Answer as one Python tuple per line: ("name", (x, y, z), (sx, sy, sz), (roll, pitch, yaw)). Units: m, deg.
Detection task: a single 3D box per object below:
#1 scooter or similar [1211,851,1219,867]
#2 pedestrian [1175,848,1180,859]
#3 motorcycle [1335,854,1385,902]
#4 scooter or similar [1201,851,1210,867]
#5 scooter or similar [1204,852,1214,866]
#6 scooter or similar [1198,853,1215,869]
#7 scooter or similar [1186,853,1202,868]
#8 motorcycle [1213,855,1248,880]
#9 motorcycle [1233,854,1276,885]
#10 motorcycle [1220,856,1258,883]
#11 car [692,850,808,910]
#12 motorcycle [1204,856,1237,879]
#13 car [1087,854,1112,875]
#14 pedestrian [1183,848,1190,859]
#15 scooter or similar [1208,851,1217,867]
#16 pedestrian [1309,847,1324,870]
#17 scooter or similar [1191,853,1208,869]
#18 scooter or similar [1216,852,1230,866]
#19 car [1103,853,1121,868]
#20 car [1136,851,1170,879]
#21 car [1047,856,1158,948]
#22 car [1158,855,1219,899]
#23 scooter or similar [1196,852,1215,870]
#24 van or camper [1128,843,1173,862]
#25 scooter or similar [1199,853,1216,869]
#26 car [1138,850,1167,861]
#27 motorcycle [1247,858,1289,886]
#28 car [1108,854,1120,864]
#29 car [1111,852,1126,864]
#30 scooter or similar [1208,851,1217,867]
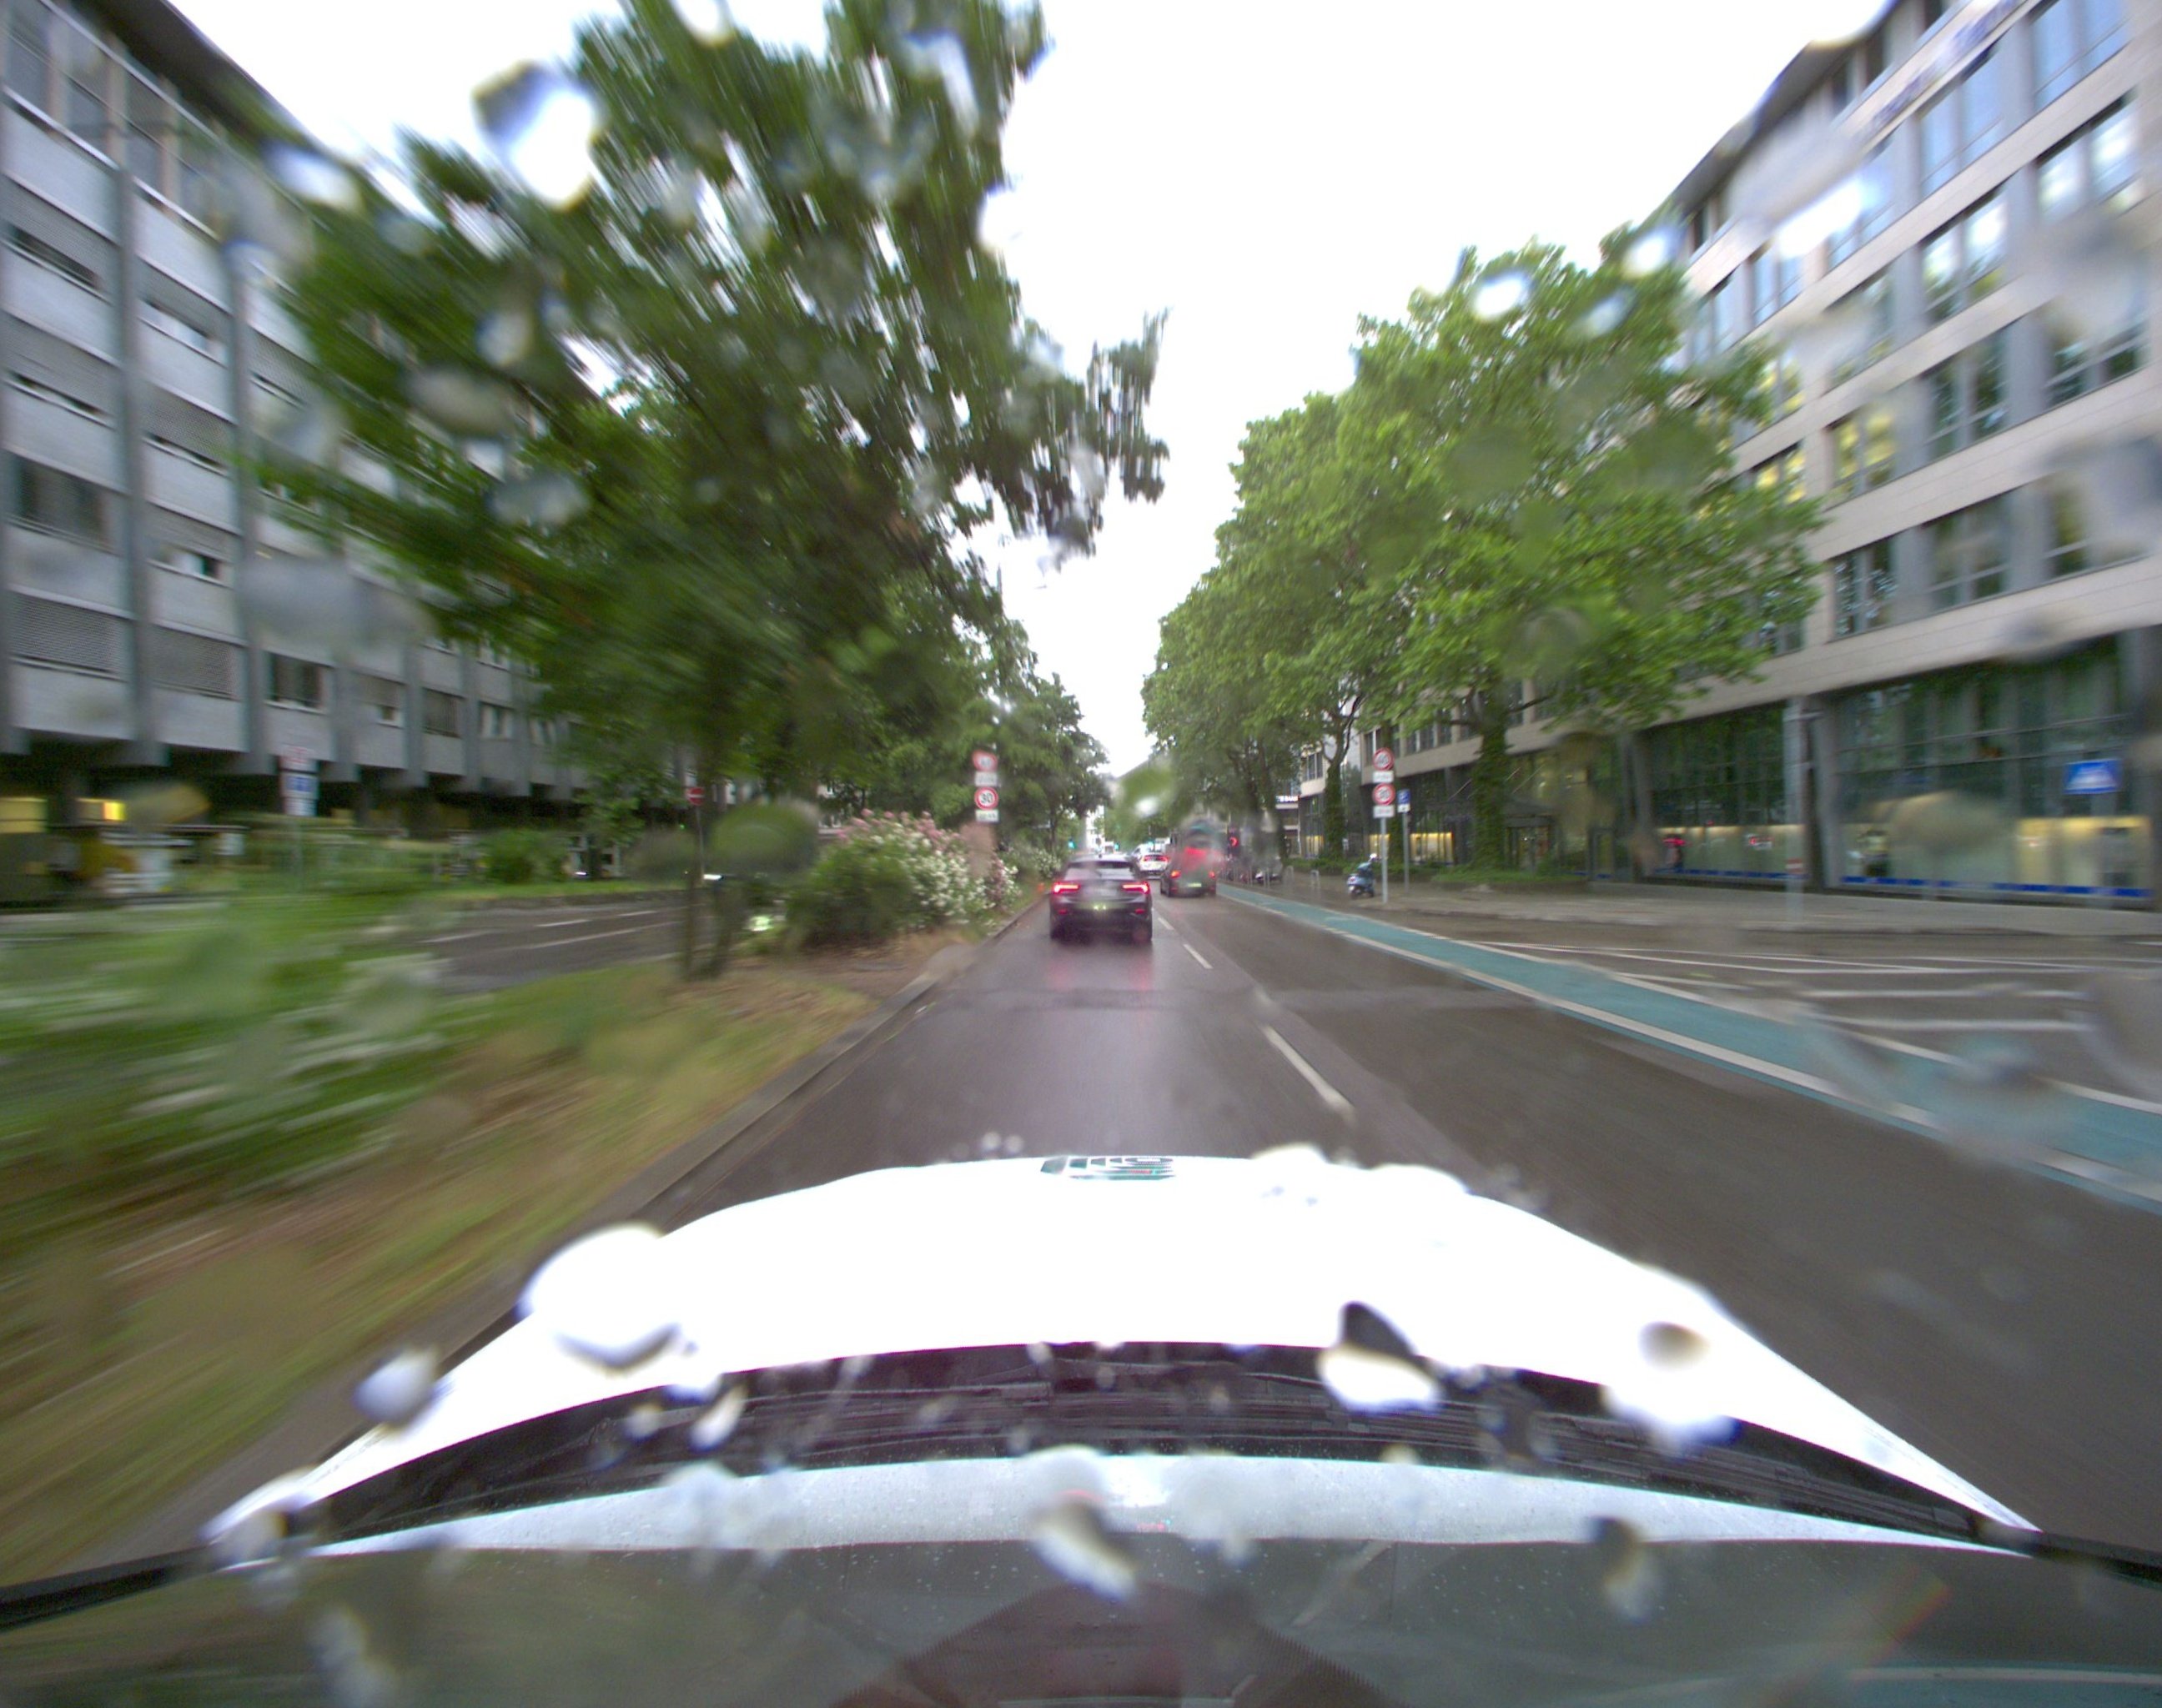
("scooter or similar", (11.192, 0.412, 67.967), (0.486, 1.259, 1.294), (-2, 1, 1))
("pedestrian", (15.944, -0.145, 134.492), (0.551, 1.805, 0.761), (0, -1, -2))
("motorcycle", (8.796, 0.731, 25.636), (0.676, 1.367, 1.958), (-5, -1, 41))
("scooter or similar", (10.654, 0.438, 69.677), (0.486, 1.259, 1.294), (-2, 1, 1))
("scooter or similar", (11.074, 0.446, 70.529), (0.487, 1.198, 1.290), (-1, -1, -8))
("scooter or similar", (10.084, 0.573, 65.613), (1.284, 1.235, 0.489), (-2, 1, 3))
("scooter or similar", (9.595, 0.547, 69.087), (1.280, 1.260, 0.491), (-2, 1, 12))
("motorcycle", (9.026, 0.815, 49.236), (1.962, 1.373, 0.724), (-3, 1, -21))
("motorcycle", (8.830, 0.776, 41.410), (2.061, 1.428, 0.724), (-3, 1, -21))
("motorcycle", (8.877, 0.850, 45.805), (1.962, 1.373, 0.724), (-3, 1, -21))
("car", (-9.842, 0.731, 24.561), (1.716, 1.638, 4.016), (-1, 0, 2))
("motorcycle", (9.005, 0.858, 52.511), (1.959, 1.373, 0.725), (-3, 1, -16))
("car", (1.381, 0.776, 62.325), (1.843, 1.523, 4.039), (-1, 0, 1))
("pedestrian", (16.845, -0.058, 130.011), (0.803, 1.696, 1.186), (0, 0, -2))
("scooter or similar", (10.790, 0.399, 66.739), (0.486, 1.259, 1.294), (-2, 1, 1))
("pedestrian", (19.409, 0.379, 67.210), (0.913, 1.850, 1.278), (0, -1, 3))
("scooter or similar", (9.962, 0.612, 68.552), (1.280, 1.260, 0.491), (-2, 1, 12))
("scooter or similar", (12.237, 0.446, 70.296), (0.490, 1.198, 1.281), (0, -1, -30))
("car", (3.326, 0.677, 88.661), (1.843, 1.523, 4.039), (-1, 0, 1))
("car", (4.435, 0.653, 50.658), (1.843, 1.669, 4.039), (-1, 0, 1))
("car", (0.370, 0.805, 15.752), (1.843, 1.523, 4.038), (-1, 0, 0))
("car", (3.978, 0.818, 30.726), (1.843, 1.523, 4.039), (-1, 0, 1))
("scooter or similar", (9.608, 0.539, 62.734), (1.289, 1.278, 0.535), (-3, 1, -10))
("van or camper", (9.860, -0.211, 115.802), (6.009, 2.558, 2.117), (-1, 0, 27))
("scooter or similar", (10.072, 0.563, 64.868), (1.284, 1.235, 0.489), (-2, 1, 3))
("car", (9.669, 0.200, 109.818), (3.618, 1.547, 1.723), (-1, 0, 19))
("motorcycle", (8.972, 0.872, 39.080), (2.069, 1.213, 0.677), (-4, -1, -35))
("car", (5.308, 0.831, 131.546), (1.843, 1.523, 4.039), (-1, 0, 1))
("car", (4.911, 0.580, 107.646), (1.843, 1.523, 4.039), (-1, 0, 1))
("scooter or similar", (10.790, 0.399, 66.739), (0.486, 1.259, 1.294), (-2, 1, 1))
